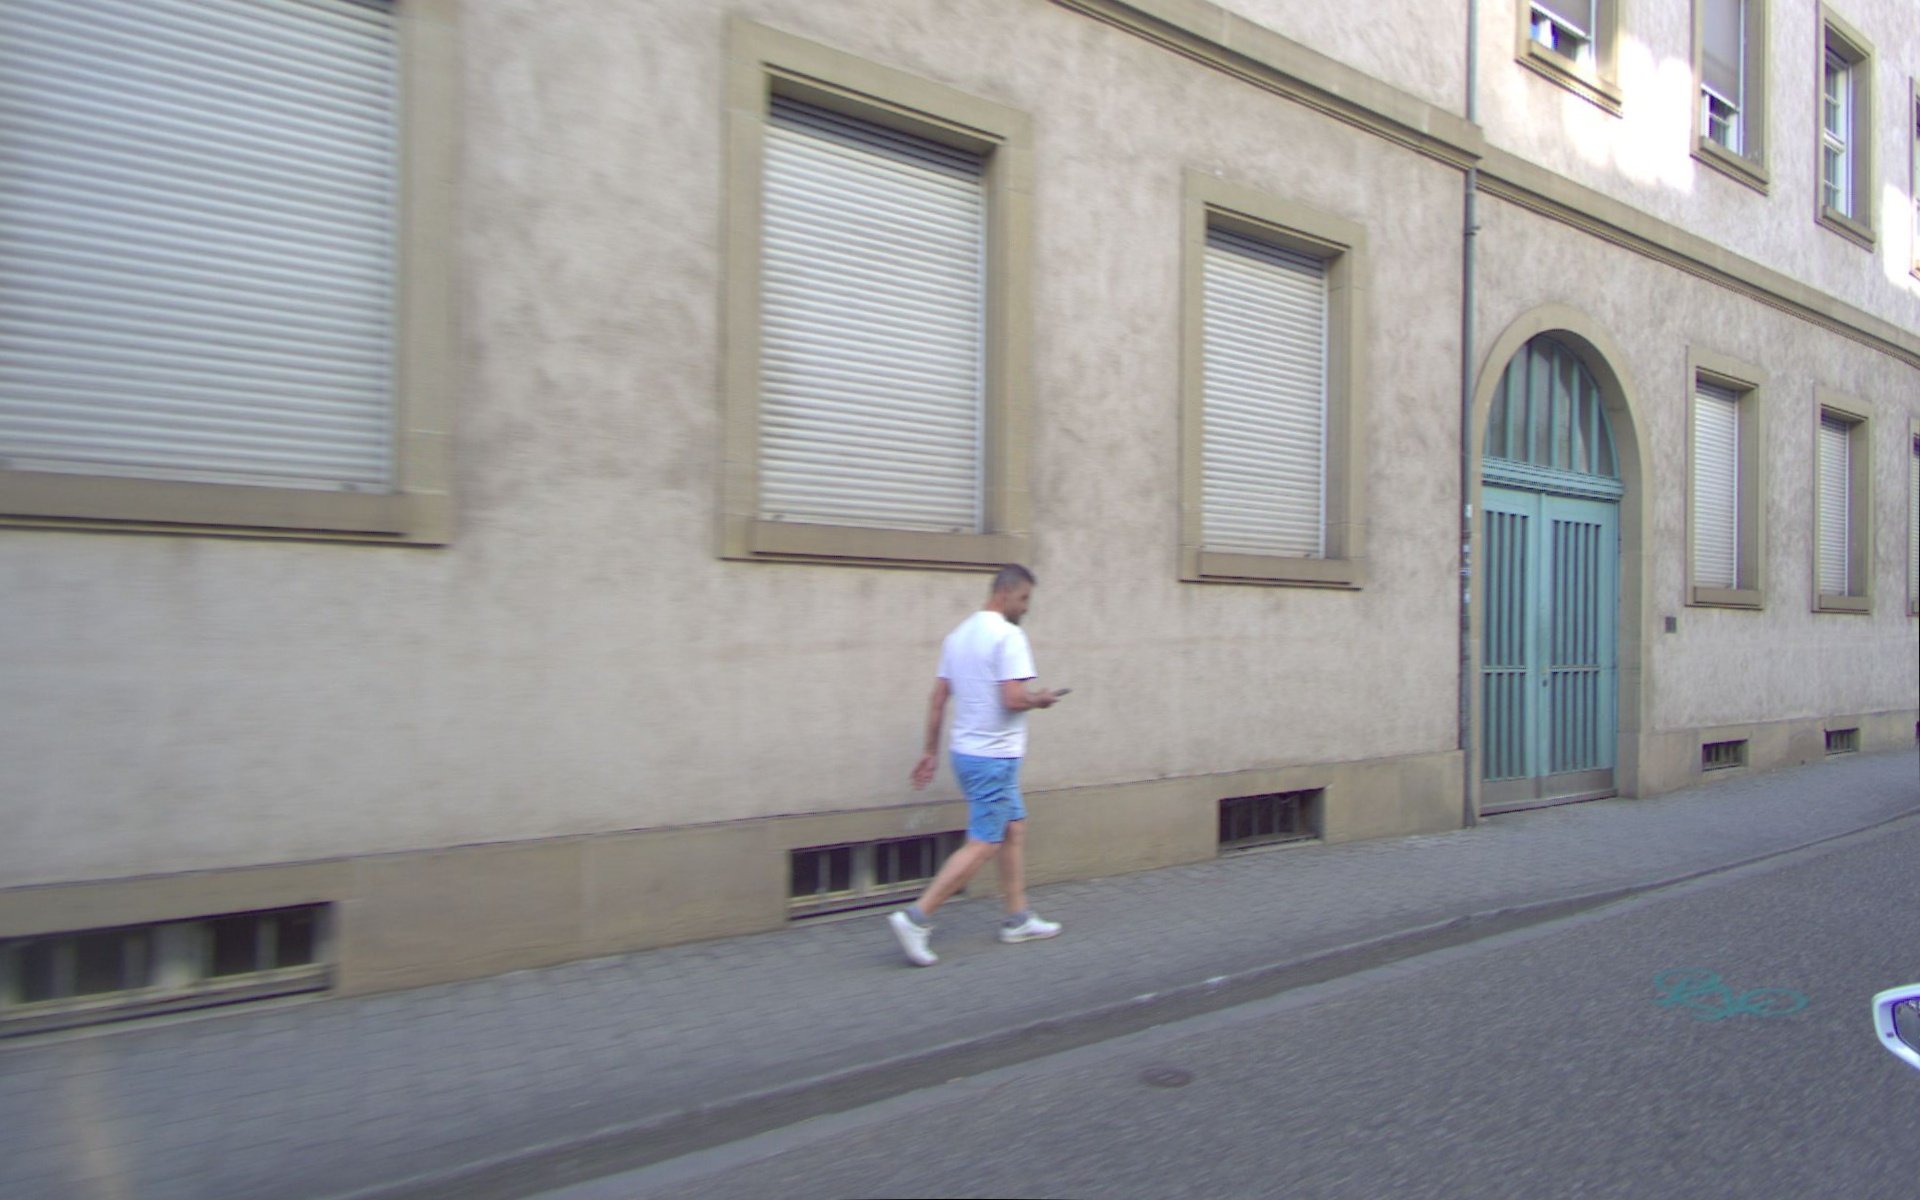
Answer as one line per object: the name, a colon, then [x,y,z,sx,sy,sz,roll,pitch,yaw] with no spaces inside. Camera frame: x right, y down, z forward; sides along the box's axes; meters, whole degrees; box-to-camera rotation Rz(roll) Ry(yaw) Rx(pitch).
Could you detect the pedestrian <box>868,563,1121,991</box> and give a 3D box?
pedestrian: [0.144,0.704,4.483,0.865,1.692,0.689,1,1,-30]
